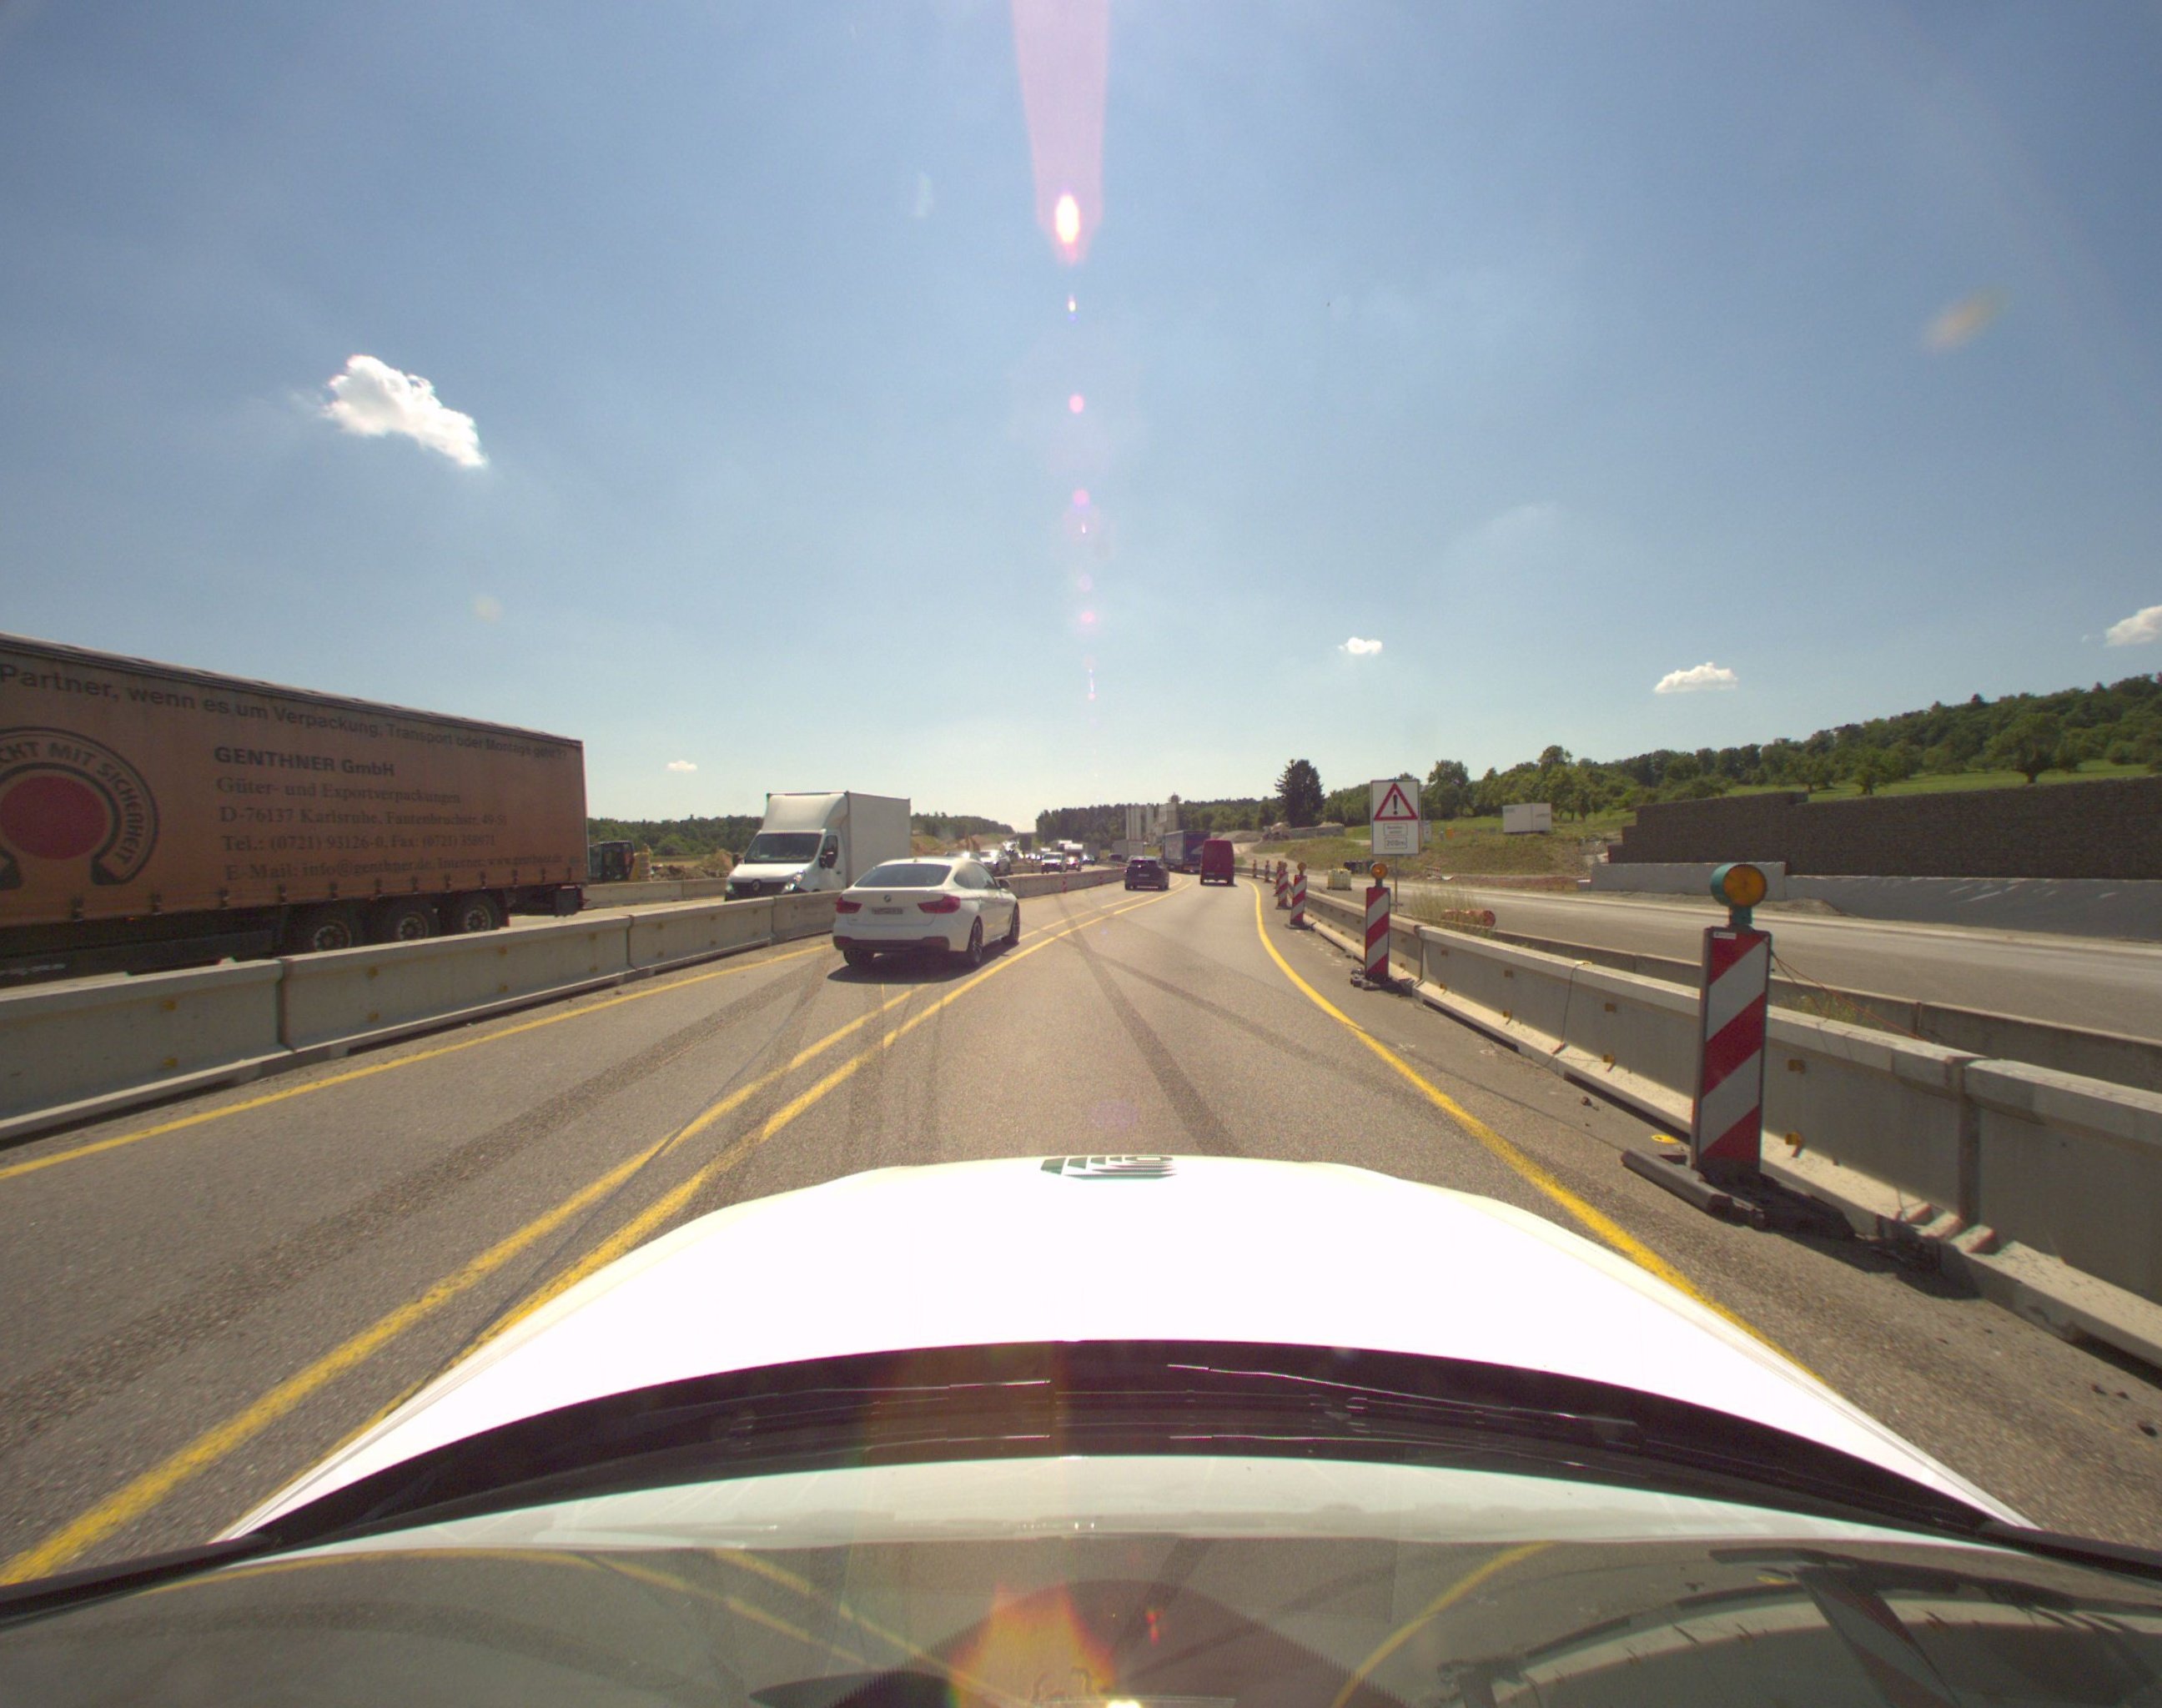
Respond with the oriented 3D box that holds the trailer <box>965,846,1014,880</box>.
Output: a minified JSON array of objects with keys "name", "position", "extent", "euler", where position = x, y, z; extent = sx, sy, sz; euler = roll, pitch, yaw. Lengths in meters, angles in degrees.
[{"name":"trailer","position":[-5.602,0.516,50.563],"extent":[1.855,2.022,4.447],"euler":[-1,0,9]}]

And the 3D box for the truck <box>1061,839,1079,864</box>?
[{"name":"truck","position":[-1.736,-0.386,134.295],"extent":[2.692,4.062,5.502],"euler":[-1,0,1]}]

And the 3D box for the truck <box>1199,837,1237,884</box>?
[{"name":"truck","position":[8.256,0.380,49.613],"extent":[2.099,2.633,6.500],"euler":[-1,0,8]}]

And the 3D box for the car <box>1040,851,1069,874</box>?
[{"name":"car","position":[-2.353,0.754,74.253],"extent":[1.855,1.953,4.902],"euler":[-1,0,8]}]

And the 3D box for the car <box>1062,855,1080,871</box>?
[{"name":"car","position":[-1.044,0.897,86.945],"extent":[1.713,1.627,4.338],"euler":[-1,0,2]}]

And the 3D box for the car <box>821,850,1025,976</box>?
[{"name":"car","position":[-2.142,0.723,12.640],"extent":[1.787,1.534,5.079],"euler":[1,0,4]}]

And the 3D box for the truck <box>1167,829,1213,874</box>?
[{"name":"truck","position":[10.682,-0.241,80.549],"extent":[3.008,4.153,8.263],"euler":[-1,0,-3]}]

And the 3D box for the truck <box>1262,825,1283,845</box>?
[{"name":"truck","position":[40.016,-3.907,170.100],"extent":[2.750,4.095,4.079],"euler":[-1,0,-16]}]

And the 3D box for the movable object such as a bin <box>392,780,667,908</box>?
[{"name":"movable object such as a bin","position":[-21.371,-0.338,32.562],"extent":[2.902,4.329,9.366],"euler":[-1,0,16]}]

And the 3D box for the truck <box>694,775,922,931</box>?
[{"name":"truck","position":[-6.654,-0.017,21.206],"extent":[2.563,3.381,6.947],"euler":[-1,0,10]}]

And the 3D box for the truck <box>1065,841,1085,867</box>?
[{"name":"truck","position":[-0.794,0.016,103.171],"extent":[2.434,3.071,7.244],"euler":[-1,0,-1]}]

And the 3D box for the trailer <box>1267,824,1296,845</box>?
[{"name":"trailer","position":[40.965,-3.902,166.565],"extent":[2.761,4.114,6.710],"euler":[-1,0,-15]}]

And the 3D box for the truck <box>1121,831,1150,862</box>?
[{"name":"truck","position":[8.490,-1.117,127.909],"extent":[3.674,4.691,9.745],"euler":[-1,0,-2]}]

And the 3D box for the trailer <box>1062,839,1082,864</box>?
[{"name":"trailer","position":[-1.517,-0.422,140.935],"extent":[2.749,4.114,13.984],"euler":[-1,0,2]}]

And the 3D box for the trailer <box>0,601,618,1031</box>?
[{"name":"trailer","position":[-11.604,-0.358,11.143],"extent":[2.577,4.152,13.072],"euler":[-1,0,2]}]

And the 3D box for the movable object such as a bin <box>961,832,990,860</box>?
[{"name":"movable object such as a bin","position":[-28.875,-2.154,222.512],"extent":[7.626,7.713,3.439],"euler":[-1,0,-6]}]

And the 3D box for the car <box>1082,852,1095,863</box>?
[{"name":"car","position":[1.138,0.572,123.921],"extent":[1.653,1.605,4.401],"euler":[-1,0,4]}]

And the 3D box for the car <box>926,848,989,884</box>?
[{"name":"car","position":[-6.670,0.618,44.662],"extent":[1.854,1.806,4.920],"euler":[-2,0,10]}]

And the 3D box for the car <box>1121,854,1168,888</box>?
[{"name":"car","position":[3.118,0.804,39.290],"extent":[1.783,1.534,3.943],"euler":[-1,0,11]}]

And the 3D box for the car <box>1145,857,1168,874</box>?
[{"name":"car","position":[7.312,1.058,79.606],"extent":[1.796,1.579,3.998],"euler":[-1,0,-1]}]
